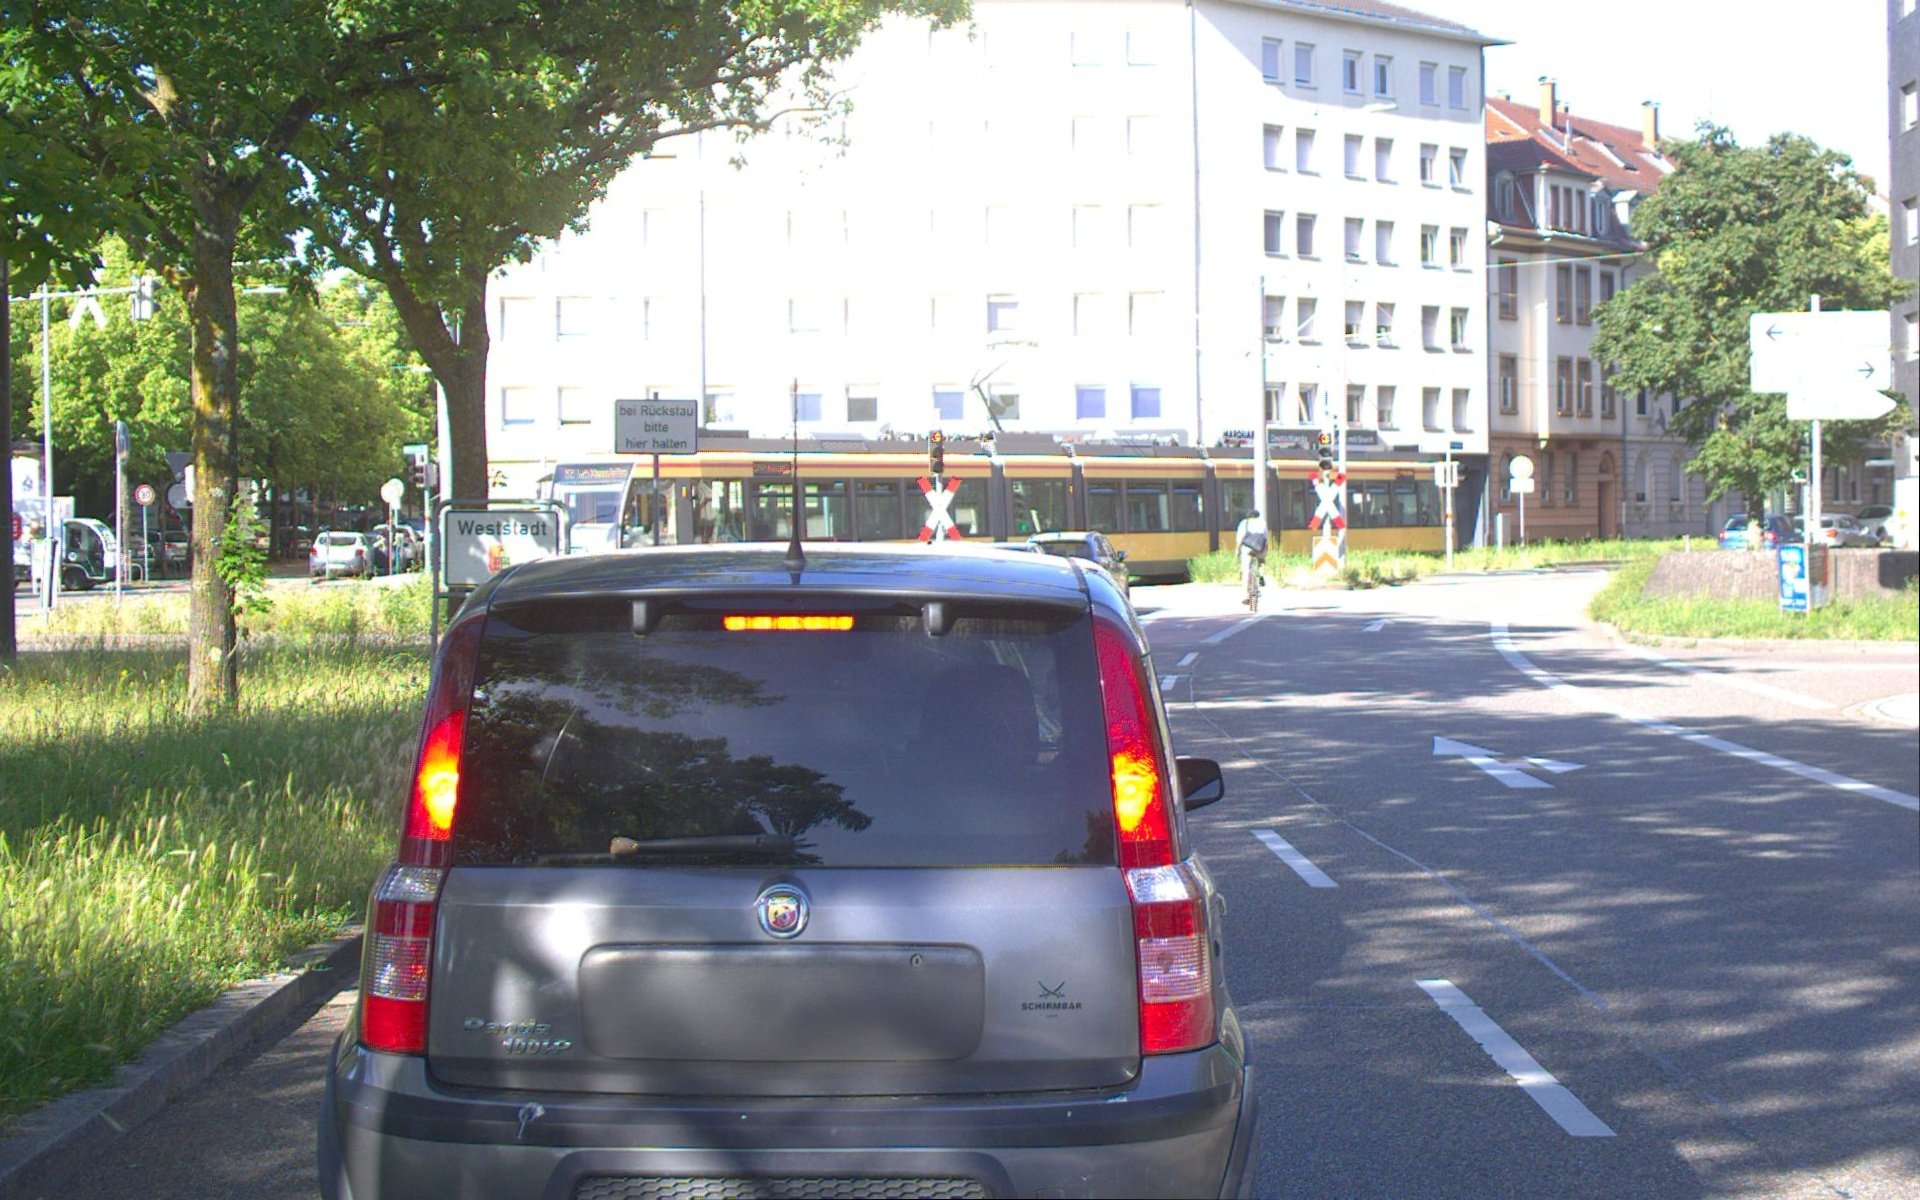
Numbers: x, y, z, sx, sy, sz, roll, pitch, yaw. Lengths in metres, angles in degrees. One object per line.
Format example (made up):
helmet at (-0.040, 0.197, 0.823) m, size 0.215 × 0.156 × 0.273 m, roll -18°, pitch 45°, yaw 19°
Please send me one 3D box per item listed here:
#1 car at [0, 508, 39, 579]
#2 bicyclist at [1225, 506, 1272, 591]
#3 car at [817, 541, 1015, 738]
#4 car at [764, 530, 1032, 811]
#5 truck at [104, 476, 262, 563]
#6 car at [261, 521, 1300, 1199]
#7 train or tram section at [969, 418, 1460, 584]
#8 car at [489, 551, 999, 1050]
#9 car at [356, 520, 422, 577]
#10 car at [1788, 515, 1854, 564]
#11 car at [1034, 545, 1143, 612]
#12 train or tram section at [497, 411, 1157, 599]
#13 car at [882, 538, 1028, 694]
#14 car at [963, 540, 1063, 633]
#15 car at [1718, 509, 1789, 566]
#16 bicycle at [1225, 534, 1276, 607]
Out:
car at (-28.578, -1.598, 97.981) m, size 4.176 × 2.007 × 1.932 m, roll -1°, pitch 1°, yaw -2°
bicyclist at (4.891, -0.872, 58.283) m, size 0.741 × 1.433 × 0.845 m, roll 1°, pitch 0°, yaw 2°
car at (-0.347, 0.265, 27.312) m, size 1.463 × 1.420 × 3.381 m, roll 0°, pitch 2°, yaw -1°
car at (-0.361, 0.353, 20.690) m, size 1.463 × 1.503 × 3.505 m, roll 0°, pitch 2°, yaw -1°
truck at (-28.876, -2.990, 127.786) m, size 5.485 × 3.158 × 2.340 m, roll 0°, pitch 1°, yaw 28°
car at (-0.301, 0.594, 7.429) m, size 1.628 × 1.503 × 4.000 m, roll -1°, pitch 1°, yaw -1°
train or tram section at (7.039, -2.502, 87.231) m, size 3.301 × 3.757 × 20.773 m, roll 0°, pitch 2°, yaw 31°
car at (-0.644, 0.557, 11.650) m, size 1.463 × 1.396 × 3.393 m, roll 0°, pitch 1°, yaw -1°
car at (-20.511, -1.866, 123.594) m, size 1.993 × 2.007 × 4.001 m, roll -1°, pitch 1°, yaw -4°
car at (23.560, -1.661, 94.027) m, size 1.528 × 1.310 × 3.285 m, roll 0°, pitch 1°, yaw 18°
car at (2.171, -0.370, 57.680) m, size 1.143 × 1.060 × 2.719 m, roll 0°, pitch 1°, yaw 17°
train or tram section at (-2.121, -2.024, 72.870) m, size 3.302 × 3.501 × 19.348 m, roll 0°, pitch 2°, yaw 33°
car at (-0.061, 0.121, 33.873) m, size 1.356 × 1.444 × 3.266 m, roll -1°, pitch 1°, yaw -1°
car at (0.749, -0.212, 49.606) m, size 1.356 × 1.277 × 2.876 m, roll 0°, pitch 1°, yaw -1°
car at (20.883, -1.657, 90.399) m, size 1.683 × 1.444 × 3.569 m, roll 0°, pitch 1°, yaw 15°
bicycle at (4.912, -0.496, 58.224) m, size 0.708 × 1.194 × 2.520 m, roll 1°, pitch 1°, yaw 2°
